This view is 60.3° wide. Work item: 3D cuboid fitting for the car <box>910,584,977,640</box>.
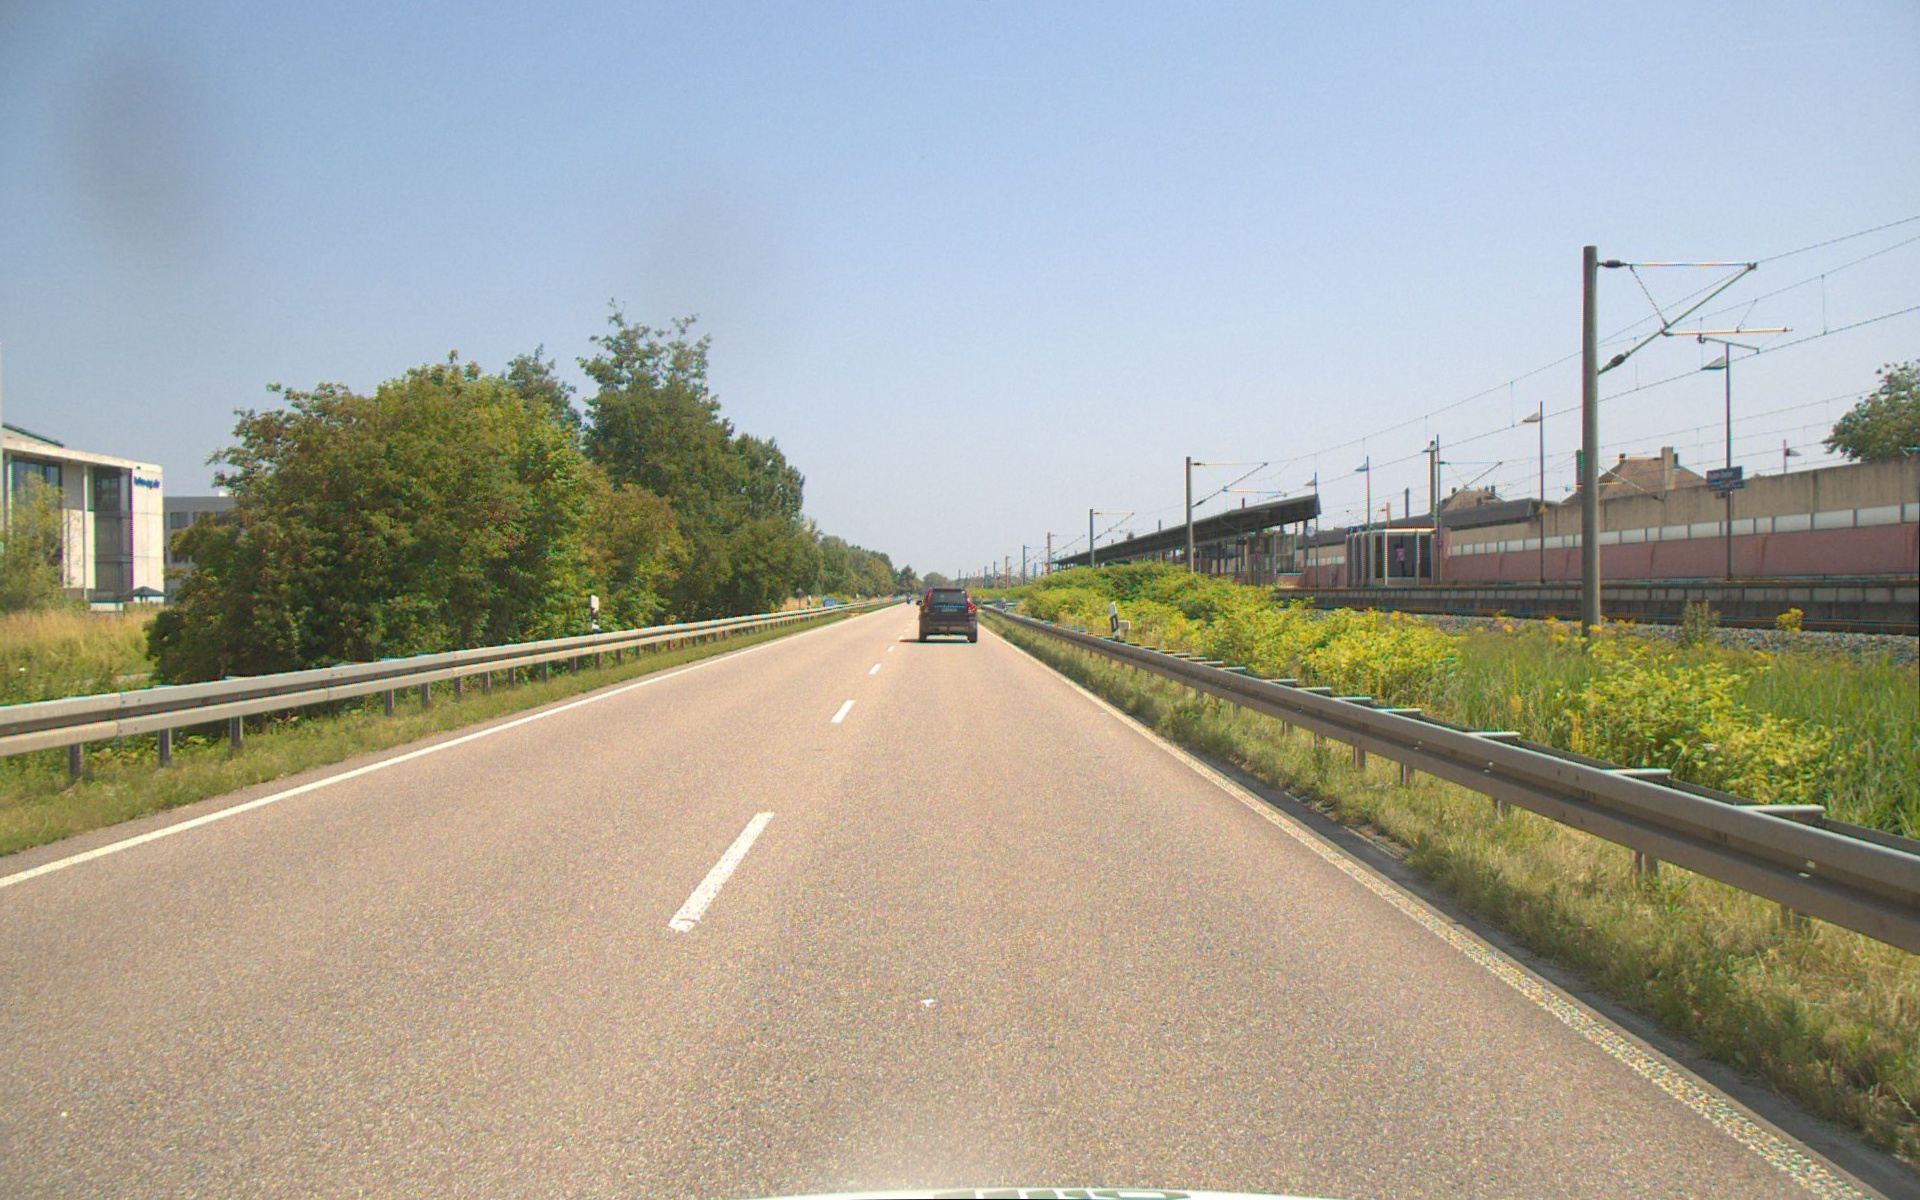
[{"bbox_3d":[-0.563,0.350,52.868,1.954,1.730,3.997,0,0,-3],"label":"car"}]
